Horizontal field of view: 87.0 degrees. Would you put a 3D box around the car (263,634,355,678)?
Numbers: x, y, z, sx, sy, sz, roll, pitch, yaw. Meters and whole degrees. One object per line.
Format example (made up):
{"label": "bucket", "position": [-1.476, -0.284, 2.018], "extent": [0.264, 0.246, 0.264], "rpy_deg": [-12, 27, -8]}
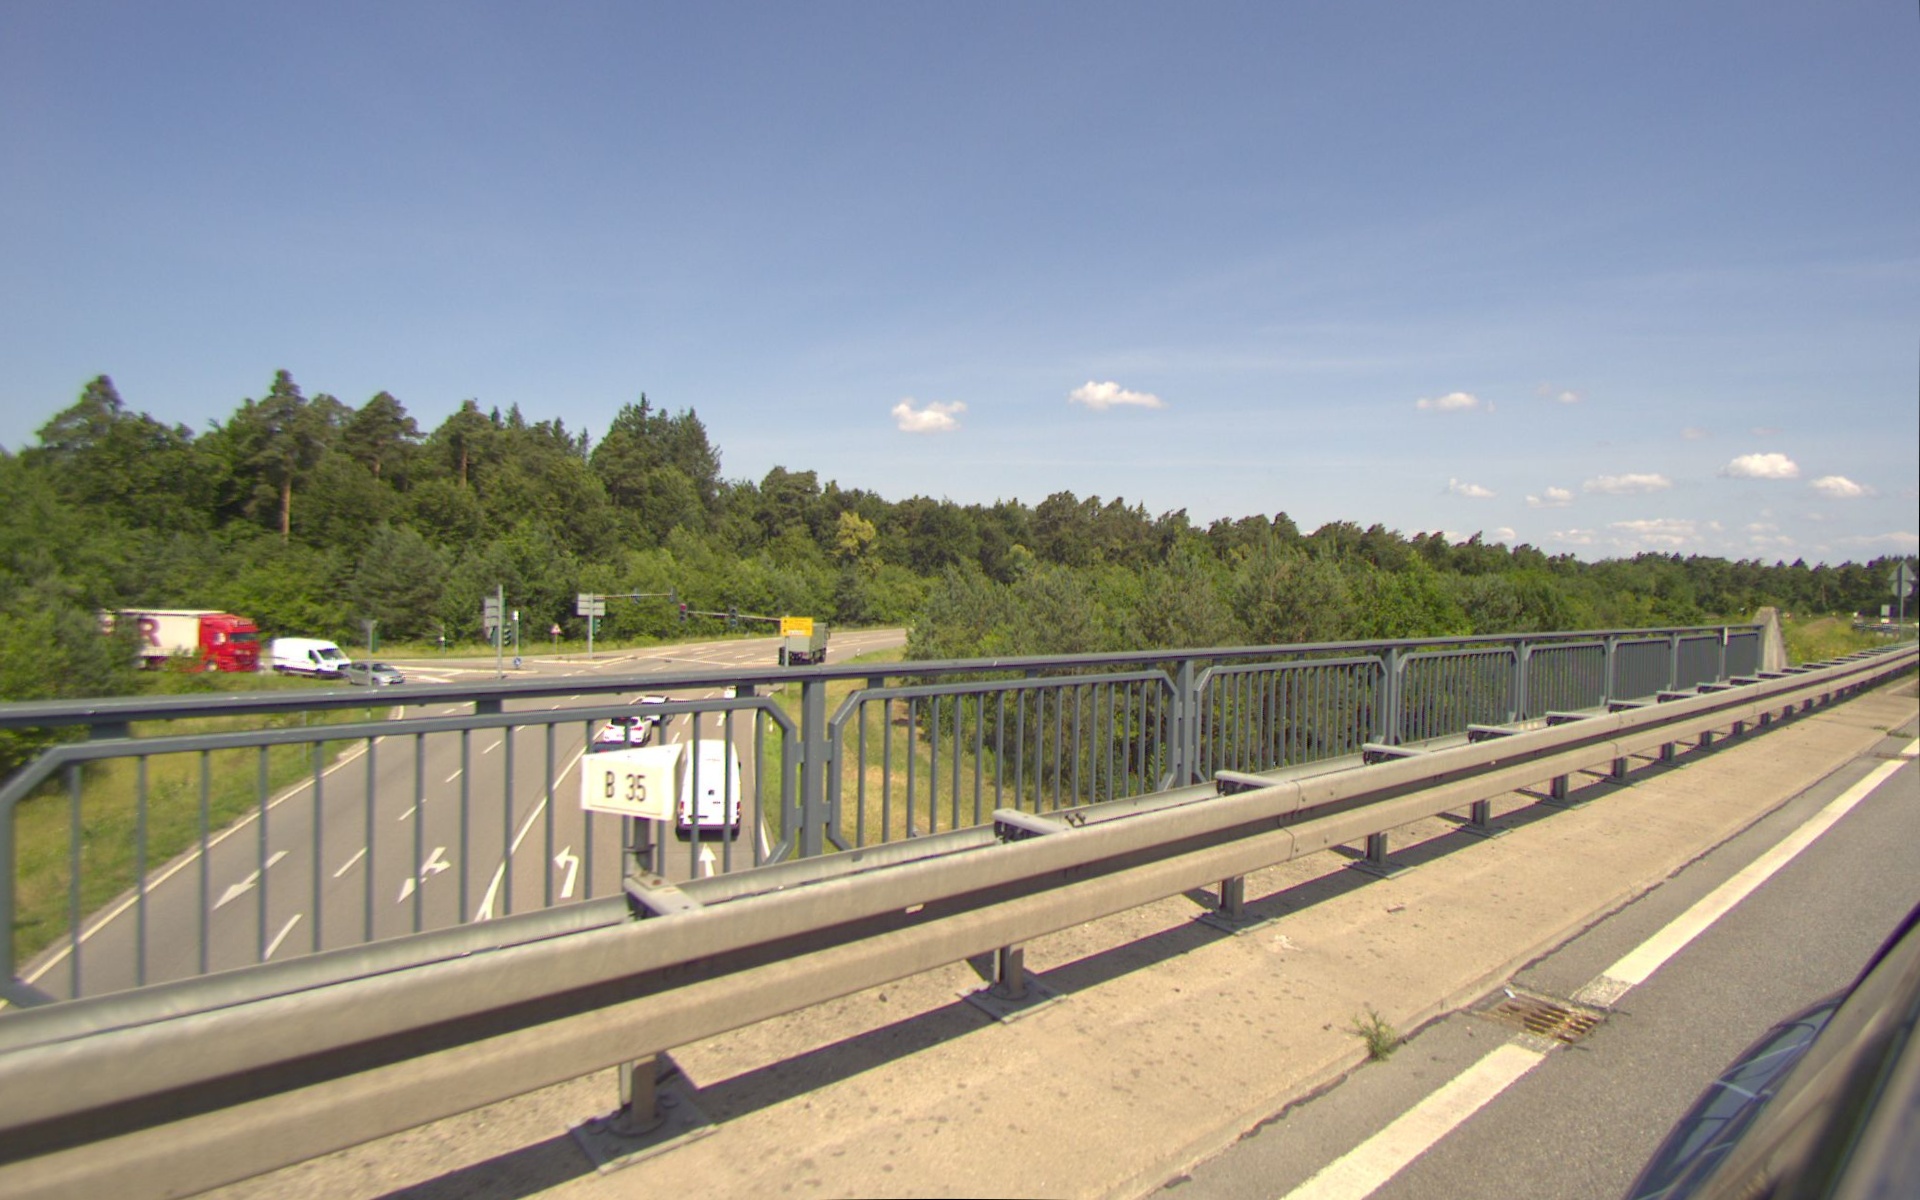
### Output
{"label": "car", "position": [-42.906, 3.637, 66.723], "extent": [5.366, 2.566, 1.988], "rpy_deg": [2, -2, 17]}

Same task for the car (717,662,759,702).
{"label": "car", "position": [-14.580, 5.338, 66.705], "extent": [1.868, 1.989, 5.240], "rpy_deg": [4, 1, -5]}

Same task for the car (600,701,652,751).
{"label": "car", "position": [-15.746, 5.916, 47.922], "extent": [1.721, 1.652, 4.141], "rpy_deg": [4, 1, -11]}

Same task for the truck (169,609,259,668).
{"label": "truck", "position": [-50.269, 2.597, 68.250], "extent": [4.347, 3.703, 2.226], "rpy_deg": [3, -2, 7]}

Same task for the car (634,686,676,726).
{"label": "car", "position": [-16.712, 5.783, 55.596], "extent": [1.666, 1.459, 4.406], "rpy_deg": [4, 1, -11]}

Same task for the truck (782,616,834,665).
{"label": "truck", "position": [-13.790, 3.630, 92.594], "extent": [2.253, 3.765, 9.007], "rpy_deg": [3, 2, 7]}

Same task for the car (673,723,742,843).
{"label": "car", "position": [-8.683, 6.096, 34.690], "extent": [1.993, 2.683, 6.369], "rpy_deg": [2, 2, -15]}

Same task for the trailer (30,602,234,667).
{"label": "trailer", "position": [-56.401, 2.307, 68.962], "extent": [12.937, 3.703, 2.255], "rpy_deg": [3, -2, 7]}

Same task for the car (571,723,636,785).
{"label": "car", "position": [-14.303, 6.148, 40.830], "extent": [1.721, 1.652, 4.377], "rpy_deg": [4, 1, -11]}

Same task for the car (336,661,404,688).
{"label": "car", "position": [-37.120, 4.670, 63.662], "extent": [3.736, 1.463, 1.751], "rpy_deg": [2, -2, 23]}
